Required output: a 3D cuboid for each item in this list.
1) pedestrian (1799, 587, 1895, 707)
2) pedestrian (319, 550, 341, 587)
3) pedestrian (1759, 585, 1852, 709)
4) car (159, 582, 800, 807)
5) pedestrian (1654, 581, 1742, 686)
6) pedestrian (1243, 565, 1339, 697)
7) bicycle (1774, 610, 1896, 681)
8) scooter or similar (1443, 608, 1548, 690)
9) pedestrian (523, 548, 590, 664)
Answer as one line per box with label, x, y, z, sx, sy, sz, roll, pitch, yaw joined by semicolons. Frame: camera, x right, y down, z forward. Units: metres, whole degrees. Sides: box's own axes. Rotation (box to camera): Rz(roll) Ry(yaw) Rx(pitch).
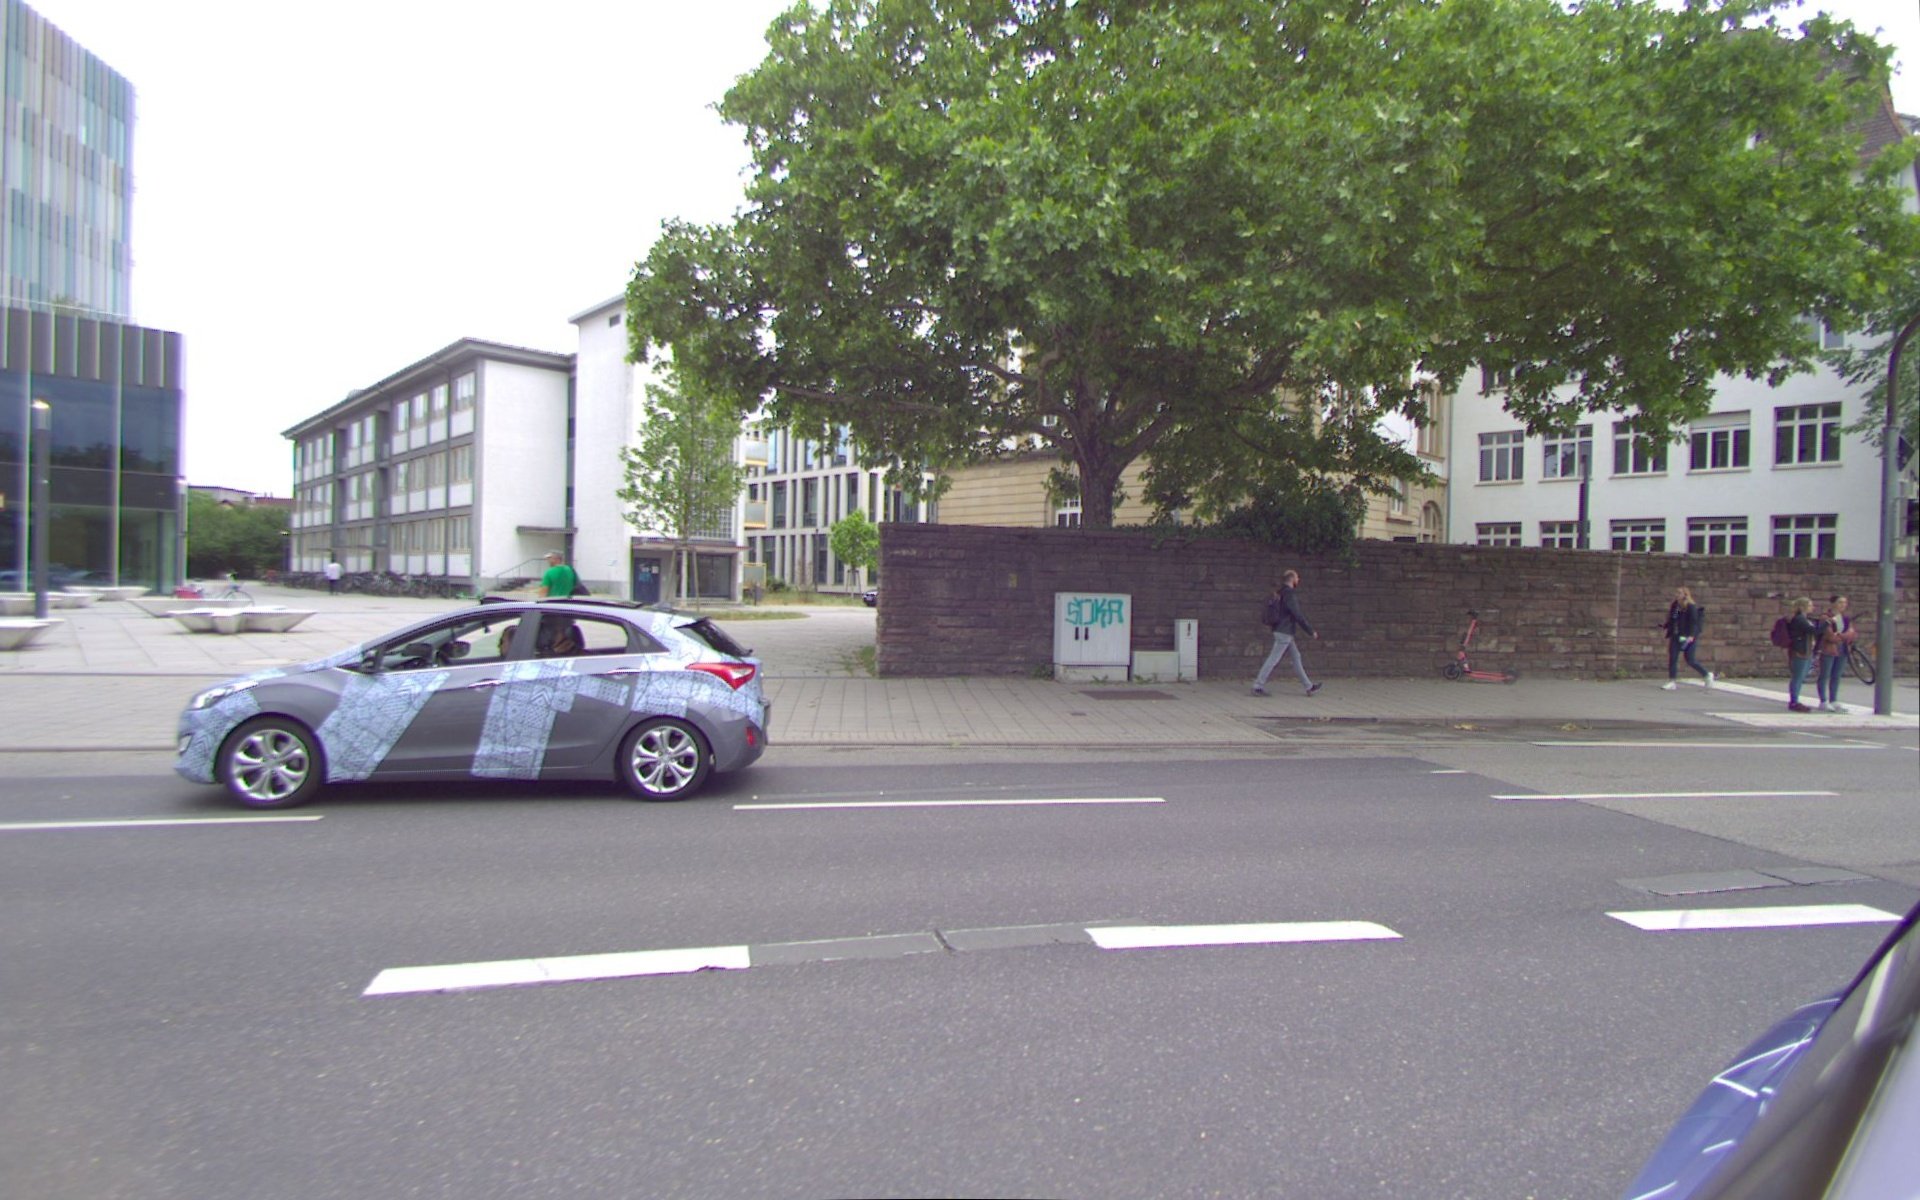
pedestrian;13.154;0.681;15.025;0.629;1.714;0.781;1;2;-10
pedestrian;-31.891;-1.597;51.221;0.763;1.811;0.760;1;1;-44
pedestrian;12.470;0.677;14.945;0.656;1.760;0.737;1;2;-12
car;-3.403;0.672;8.027;4.140;1.487;2.003;1;-1;-10
pedestrian;12.293;0.545;16.878;0.792;1.685;0.793;1;2;-9
pedestrian;4.704;0.423;14.431;0.986;1.811;0.759;1;2;-11
bicycle;15.792;0.821;18.261;2.110;1.199;0.585;1;2;-18
scooter or similar;8.885;0.796;16.823;1.390;1.245;0.494;2;2;10
pedestrian;-6.264;0.083;15.734;0.931;1.736;0.908;0;1;-21
